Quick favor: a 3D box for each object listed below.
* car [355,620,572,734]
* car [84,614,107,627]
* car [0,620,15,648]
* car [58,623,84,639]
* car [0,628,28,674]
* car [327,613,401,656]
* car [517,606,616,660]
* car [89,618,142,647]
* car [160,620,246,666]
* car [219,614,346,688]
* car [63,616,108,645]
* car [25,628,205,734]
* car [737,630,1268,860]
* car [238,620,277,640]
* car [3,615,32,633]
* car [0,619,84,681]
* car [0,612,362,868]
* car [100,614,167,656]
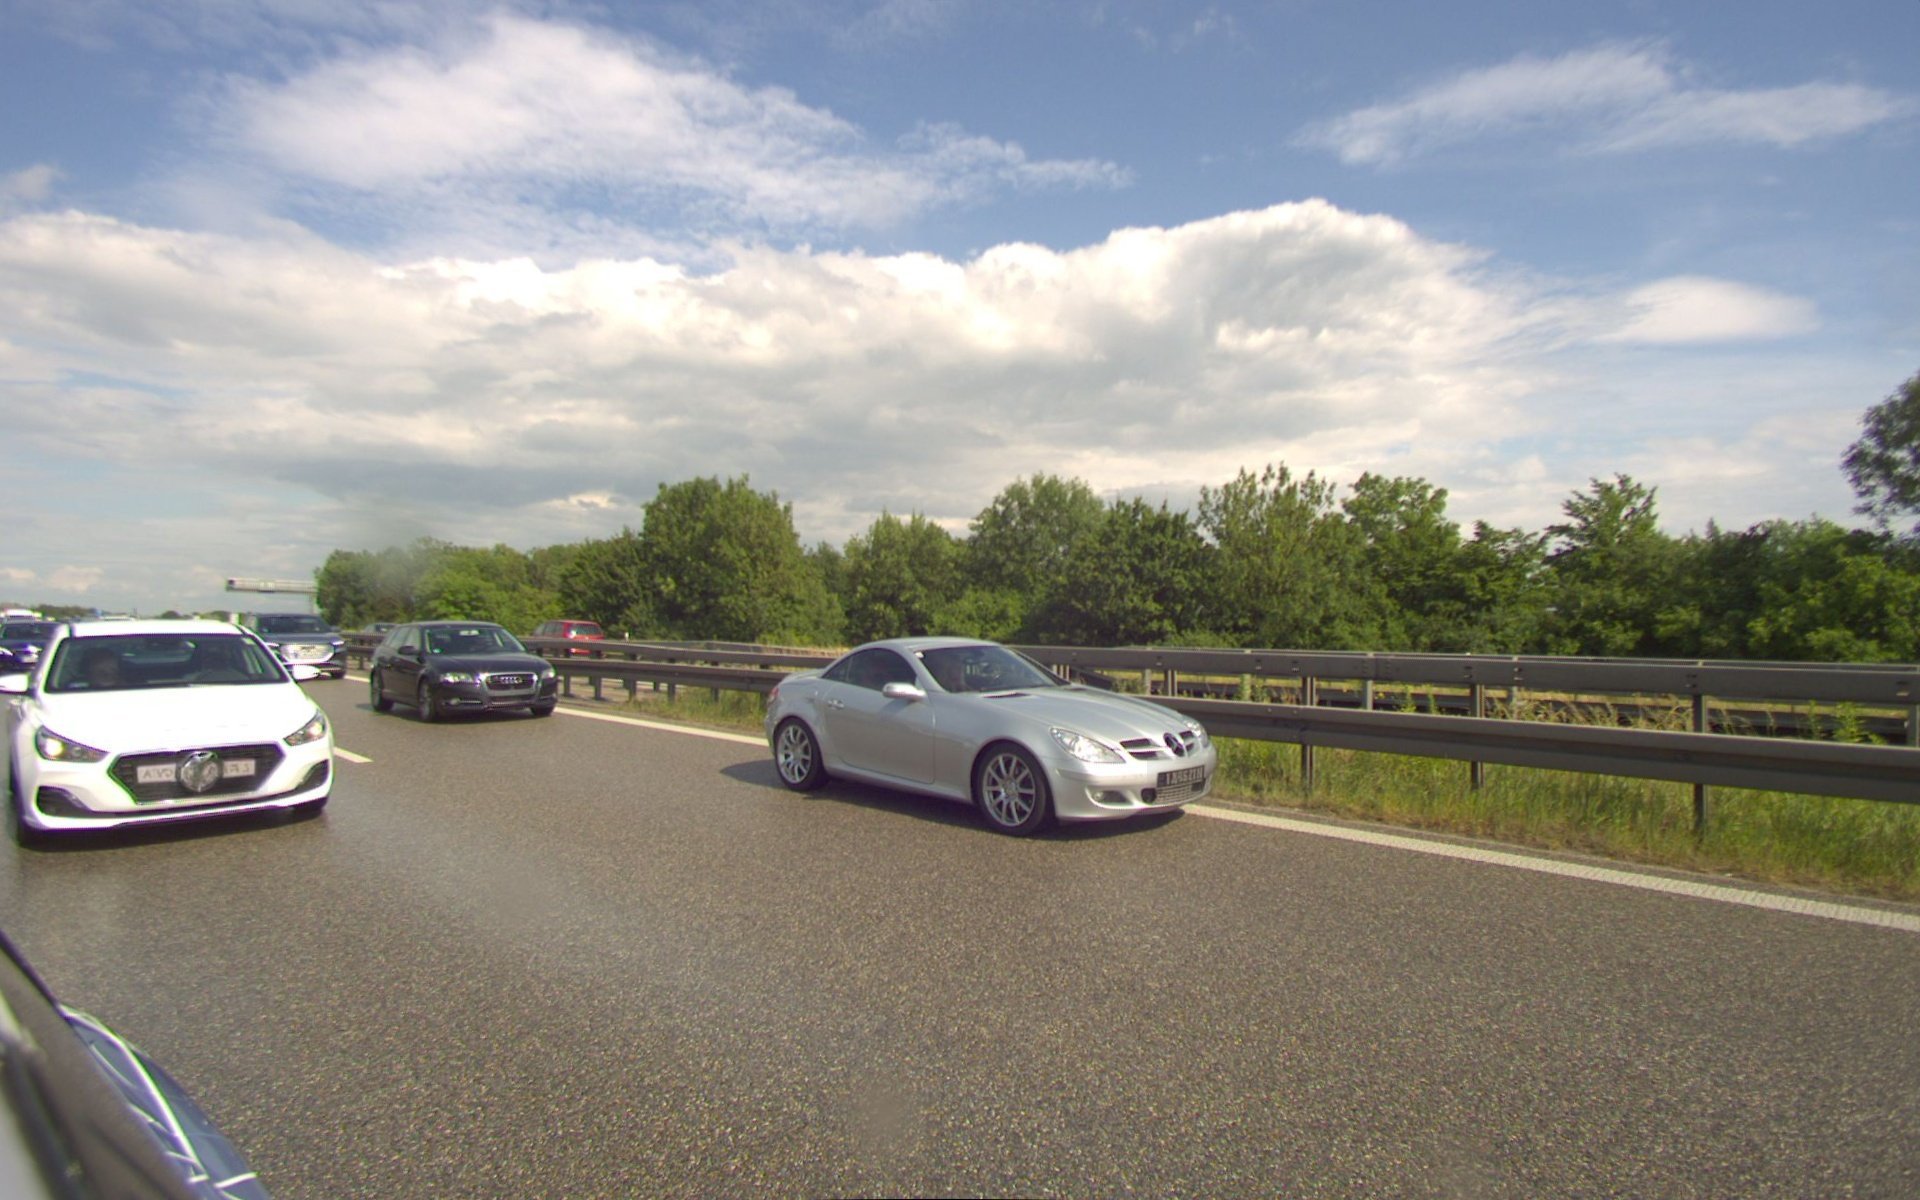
[{"bbox_3d":[-7.545,1.036,15.182,1.746,1.436,4.142,0,0,-44],"label":"car"},{"bbox_3d":[-116.281,2.767,136.122,1.970,1.792,4.464,1,-1,-45],"label":"car"},{"bbox_3d":[-55.297,1.928,57.653,4.002,1.490,1.971,0,1,45],"label":"car"},{"bbox_3d":[-103.314,3.635,117.634,4.002,1.710,1.971,0,1,45],"label":"car"},{"bbox_3d":[-35.146,1.829,36.589,4.002,1.490,1.971,0,1,45],"label":"car"},{"bbox_3d":[-27.117,1.523,45.979,4.002,1.852,1.971,-1,-1,45],"label":"car"},{"bbox_3d":[-15.893,1.302,40.749,4.655,2.029,1.971,-1,-1,44],"label":"car"},{"bbox_3d":[-48.209,1.799,57.742,4.002,1.490,1.971,0,1,45],"label":"car"},{"bbox_3d":[-25.531,1.417,34.100,4.002,1.389,1.747,0,-1,45],"label":"car"},{"bbox_3d":[-16.473,1.162,24.516,1.848,1.618,4.232,1,-1,-44],"label":"car"},{"bbox_3d":[-57.758,1.976,66.810,4.002,1.710,1.971,0,1,45],"label":"car"},{"bbox_3d":[-12.844,1.107,15.293,1.705,1.348,4.289,1,-2,-45],"label":"car"},{"bbox_3d":[0.109,0.895,7.882,4.065,1.288,1.705,-1,-2,45],"label":"car"},{"bbox_3d":[-60.661,2.585,87.353,4.462,1.700,1.971,-1,-2,44],"label":"car"},{"bbox_3d":[-95.470,2.370,102.474,4.002,1.710,1.971,0,1,45],"label":"car"},{"bbox_3d":[-25.068,1.278,27.216,4.002,1.497,1.971,0,-1,45],"label":"car"},{"bbox_3d":[-6.478,0.849,8.076,4.550,1.466,1.860,-1,-2,45],"label":"car"},{"bbox_3d":[-38.060,1.567,46.567,4.002,1.762,1.971,0,1,45],"label":"car"}]
